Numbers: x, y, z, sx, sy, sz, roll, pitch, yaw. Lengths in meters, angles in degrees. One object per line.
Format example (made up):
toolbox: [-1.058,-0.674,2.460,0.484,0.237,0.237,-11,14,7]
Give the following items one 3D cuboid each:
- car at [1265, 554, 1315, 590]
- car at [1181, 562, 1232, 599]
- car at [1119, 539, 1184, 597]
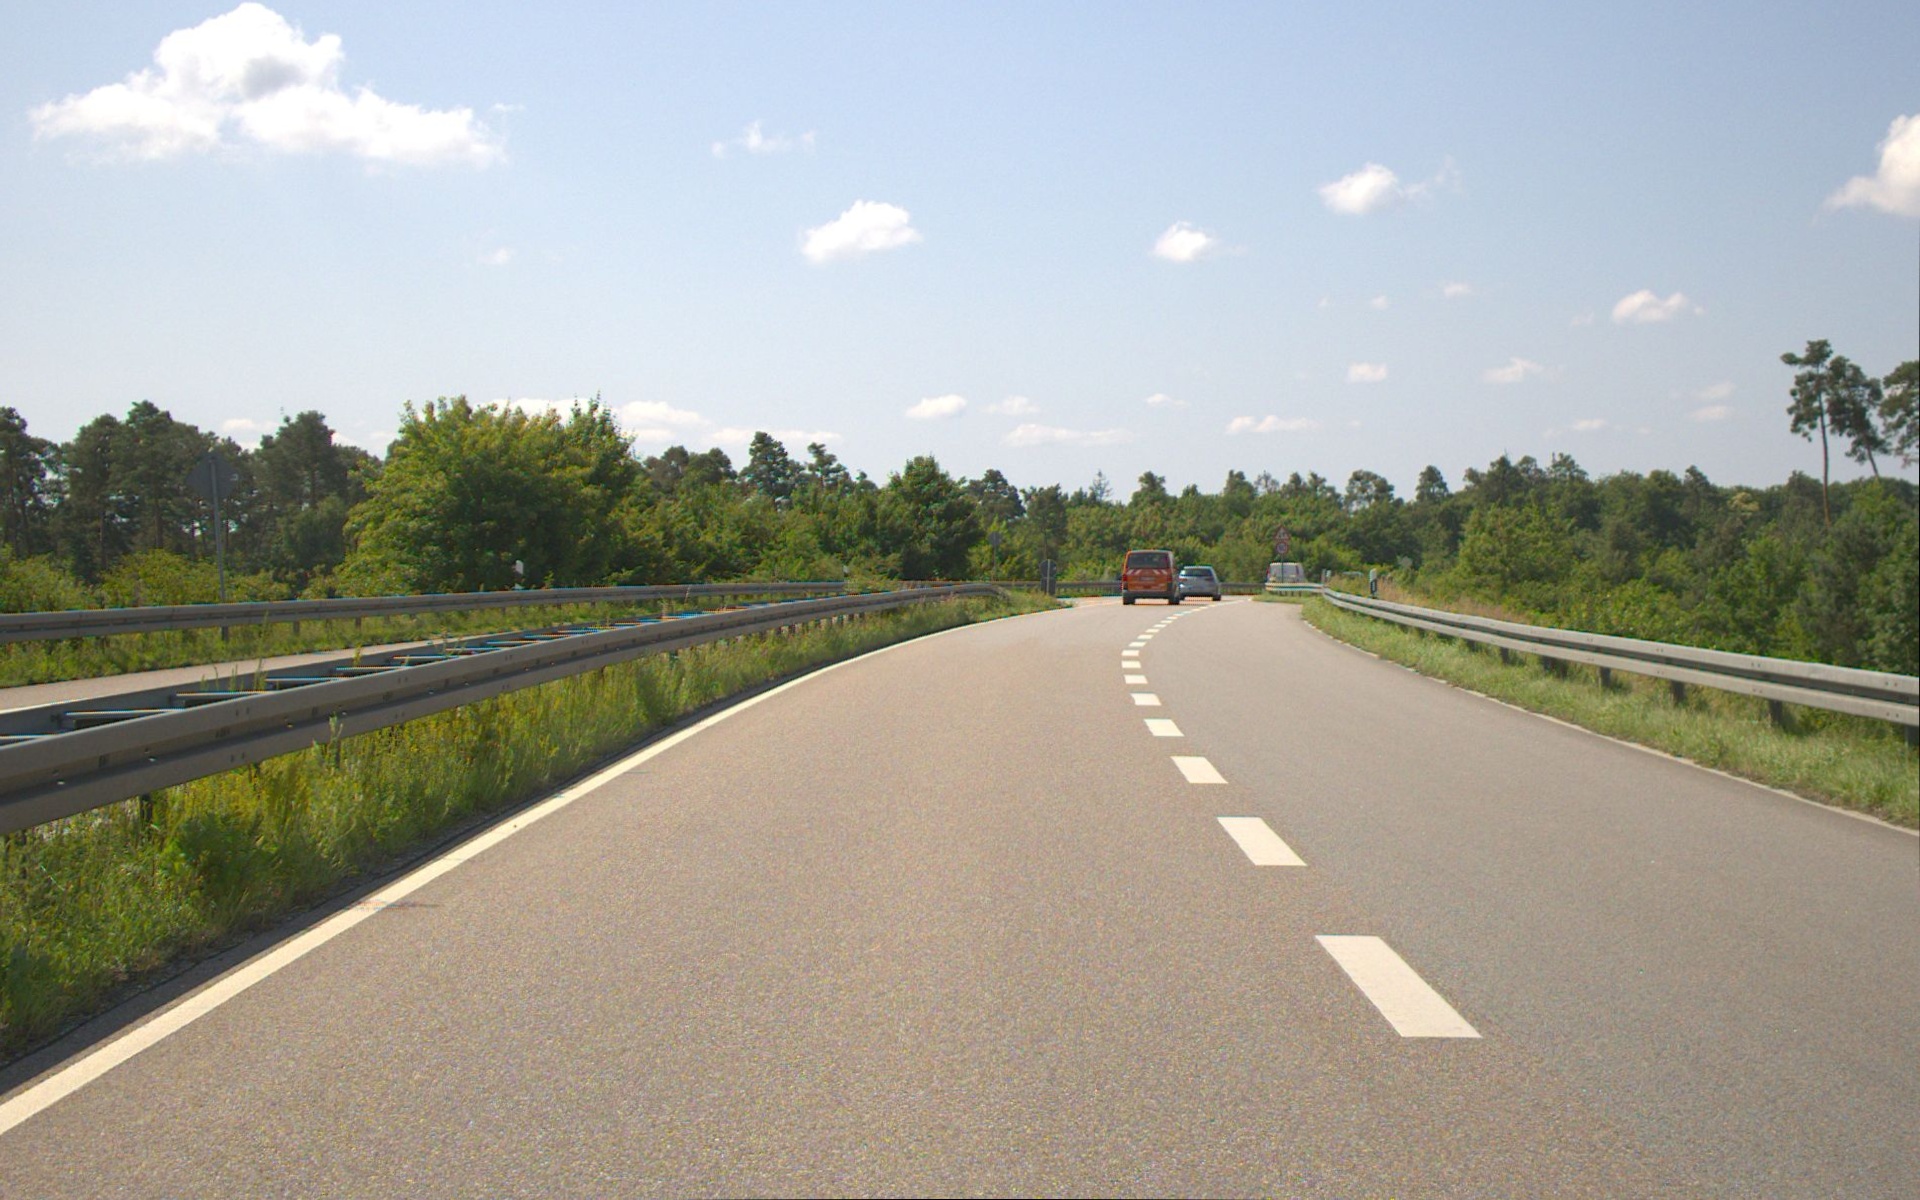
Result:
car: [19.057,-1.608,198.105,2.186,1.948,5.800,1,0,12]
car: [10.459,-0.813,145.421,2.008,1.489,4.237,1,0,6]
car: [6.916,-1.142,123.782,2.078,1.986,5.110,1,0,6]
